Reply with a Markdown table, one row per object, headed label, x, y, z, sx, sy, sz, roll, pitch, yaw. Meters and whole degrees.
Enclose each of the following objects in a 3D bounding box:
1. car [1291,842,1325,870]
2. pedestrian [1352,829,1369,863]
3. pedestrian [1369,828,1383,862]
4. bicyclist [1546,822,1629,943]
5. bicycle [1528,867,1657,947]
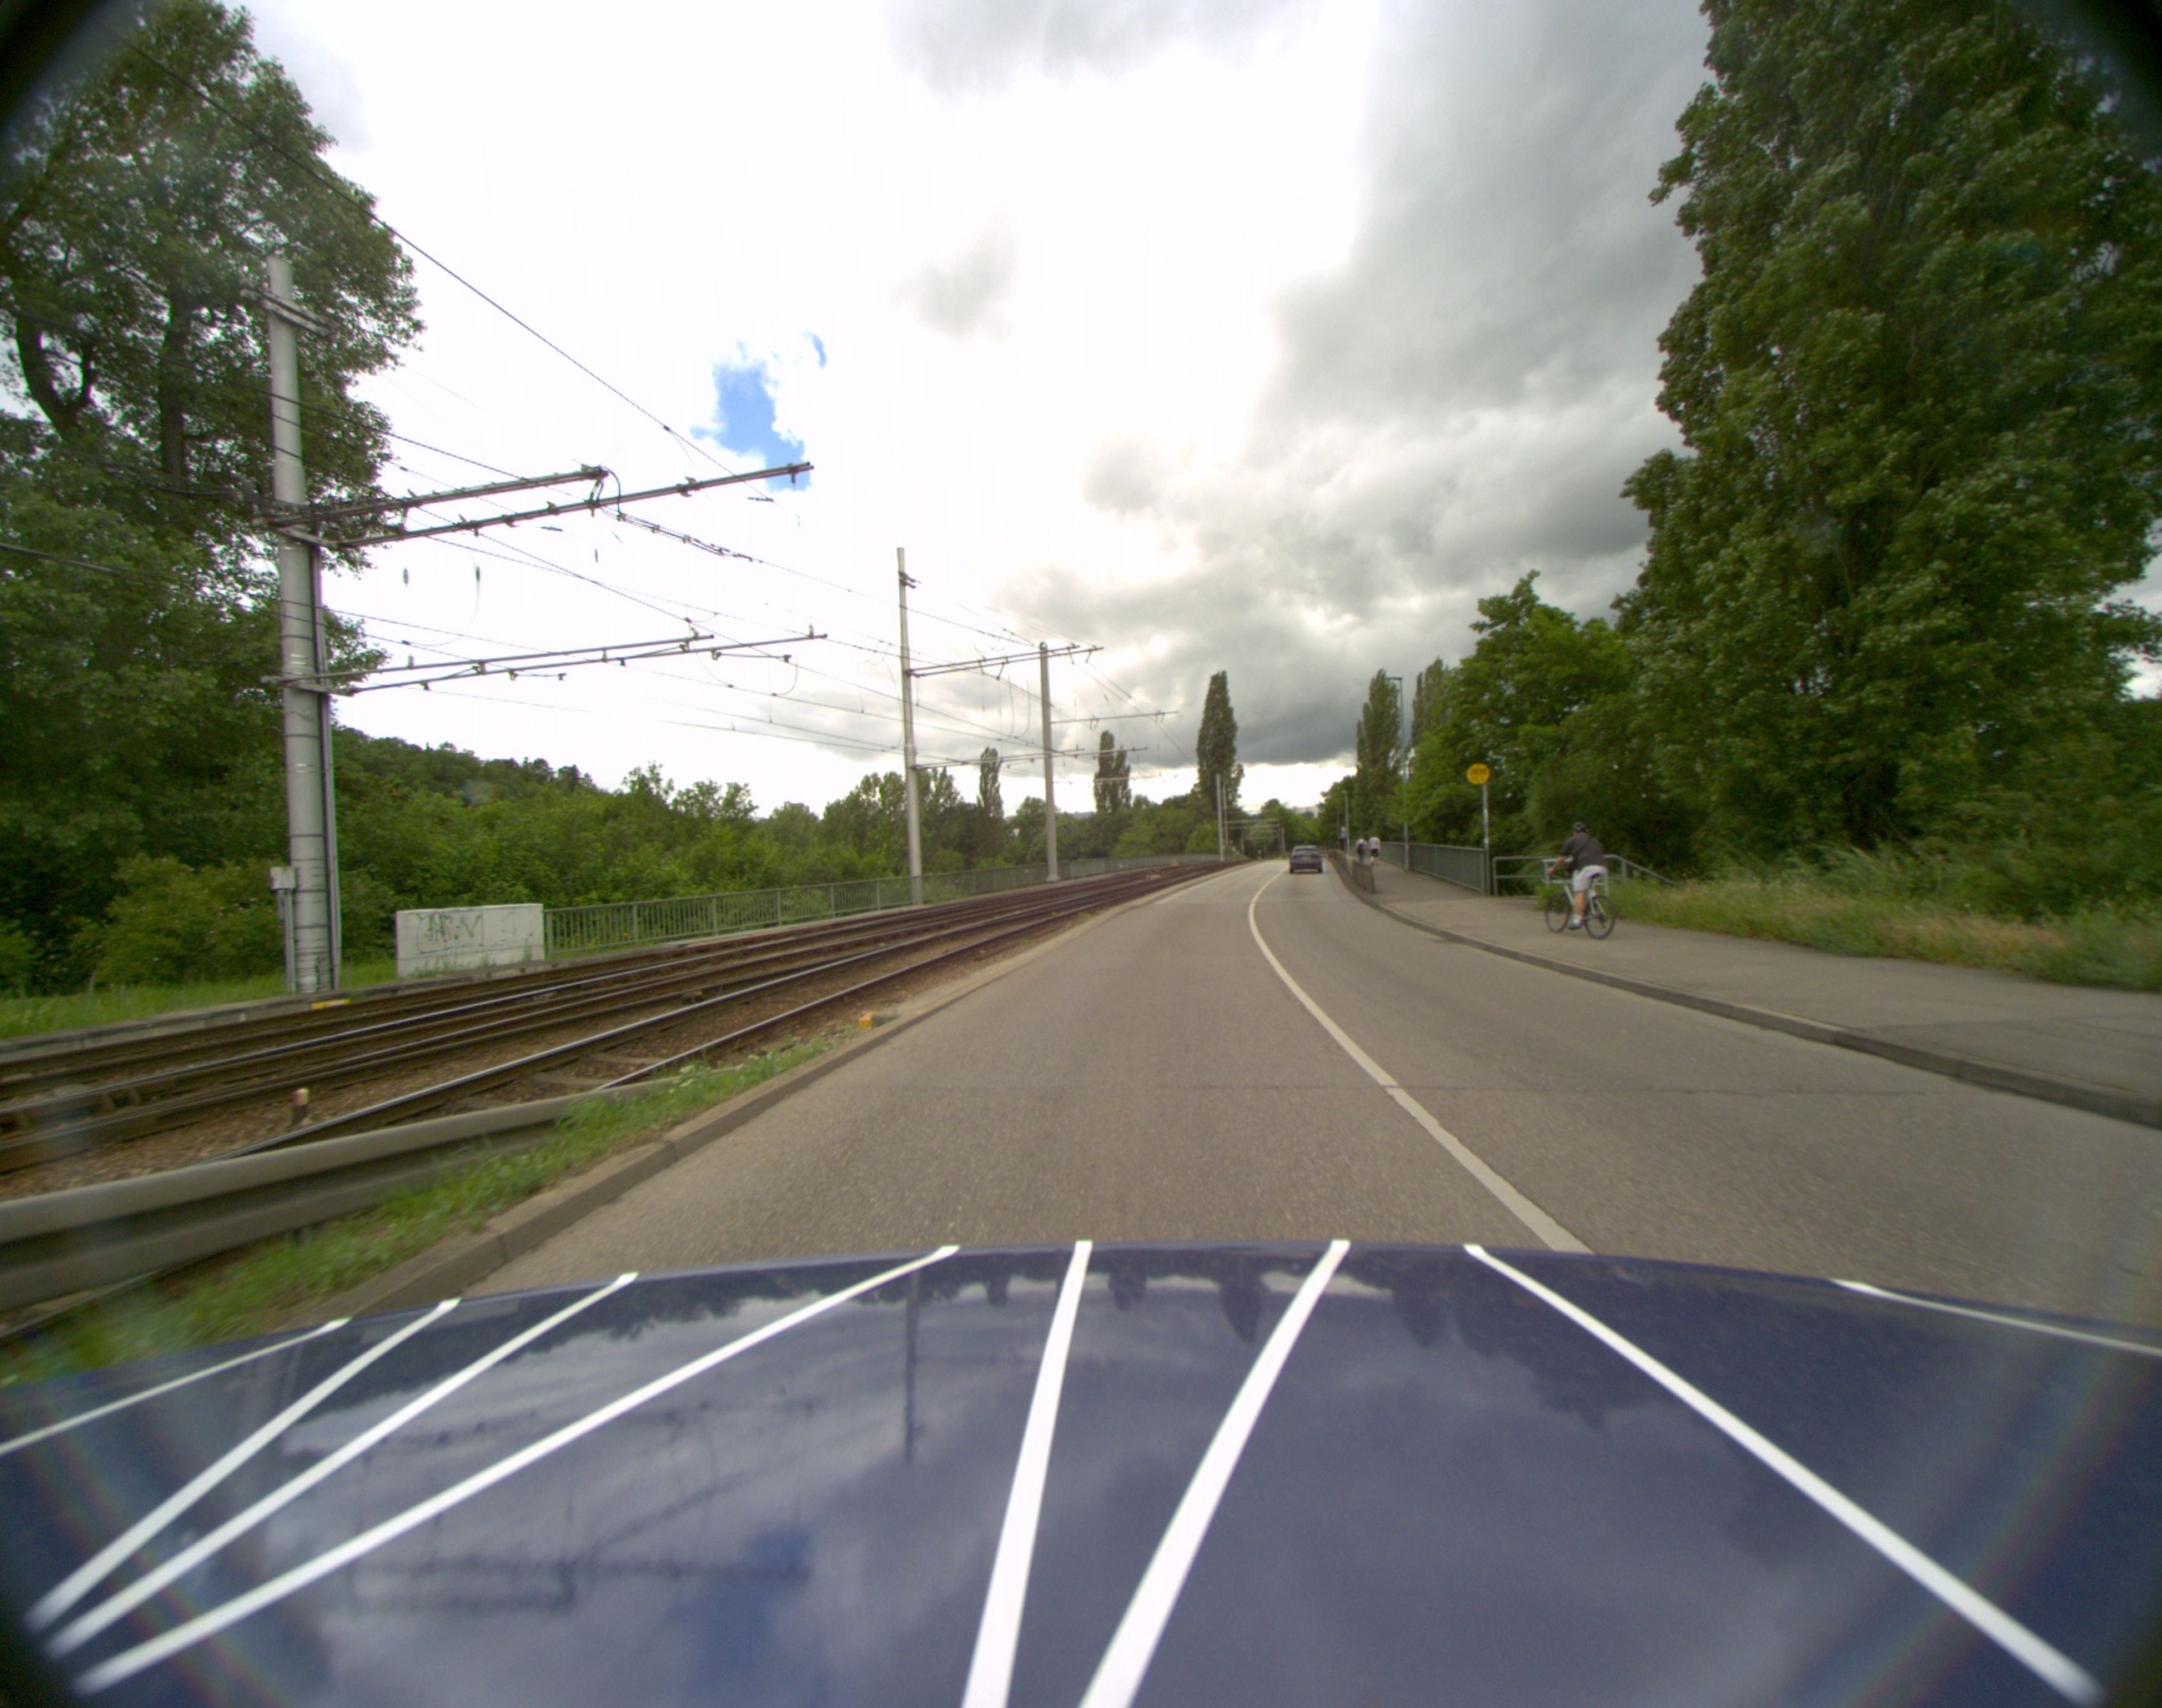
| label | x | y | z | sx | sy | sz | roll | pitch | yaw |
| --- | --- | --- | --- | --- | --- | --- | --- | --- | --- |
| car | 12.564 | 0.085 | 42.002 | 1.718 | 1.459 | 3.946 | 0 | 1 | 18 |
| pedestrian | 15.666 | -0.452 | 42.554 | 0.781 | 1.817 | 0.727 | -3 | 1 | 19 |
| pedestrian | 16.272 | -0.516 | 41.948 | 0.605 | 1.817 | 0.556 | -3 | 1 | 19 |
| bicyclist | 7.931 | 0.423 | 11.934 | 0.628 | 1.798 | 0.901 | -4 | 1 | 0 |
| bicycle | 7.972 | 0.787 | 11.965 | 0.737 | 1.065 | 1.881 | -4 | 0 | 1 |
